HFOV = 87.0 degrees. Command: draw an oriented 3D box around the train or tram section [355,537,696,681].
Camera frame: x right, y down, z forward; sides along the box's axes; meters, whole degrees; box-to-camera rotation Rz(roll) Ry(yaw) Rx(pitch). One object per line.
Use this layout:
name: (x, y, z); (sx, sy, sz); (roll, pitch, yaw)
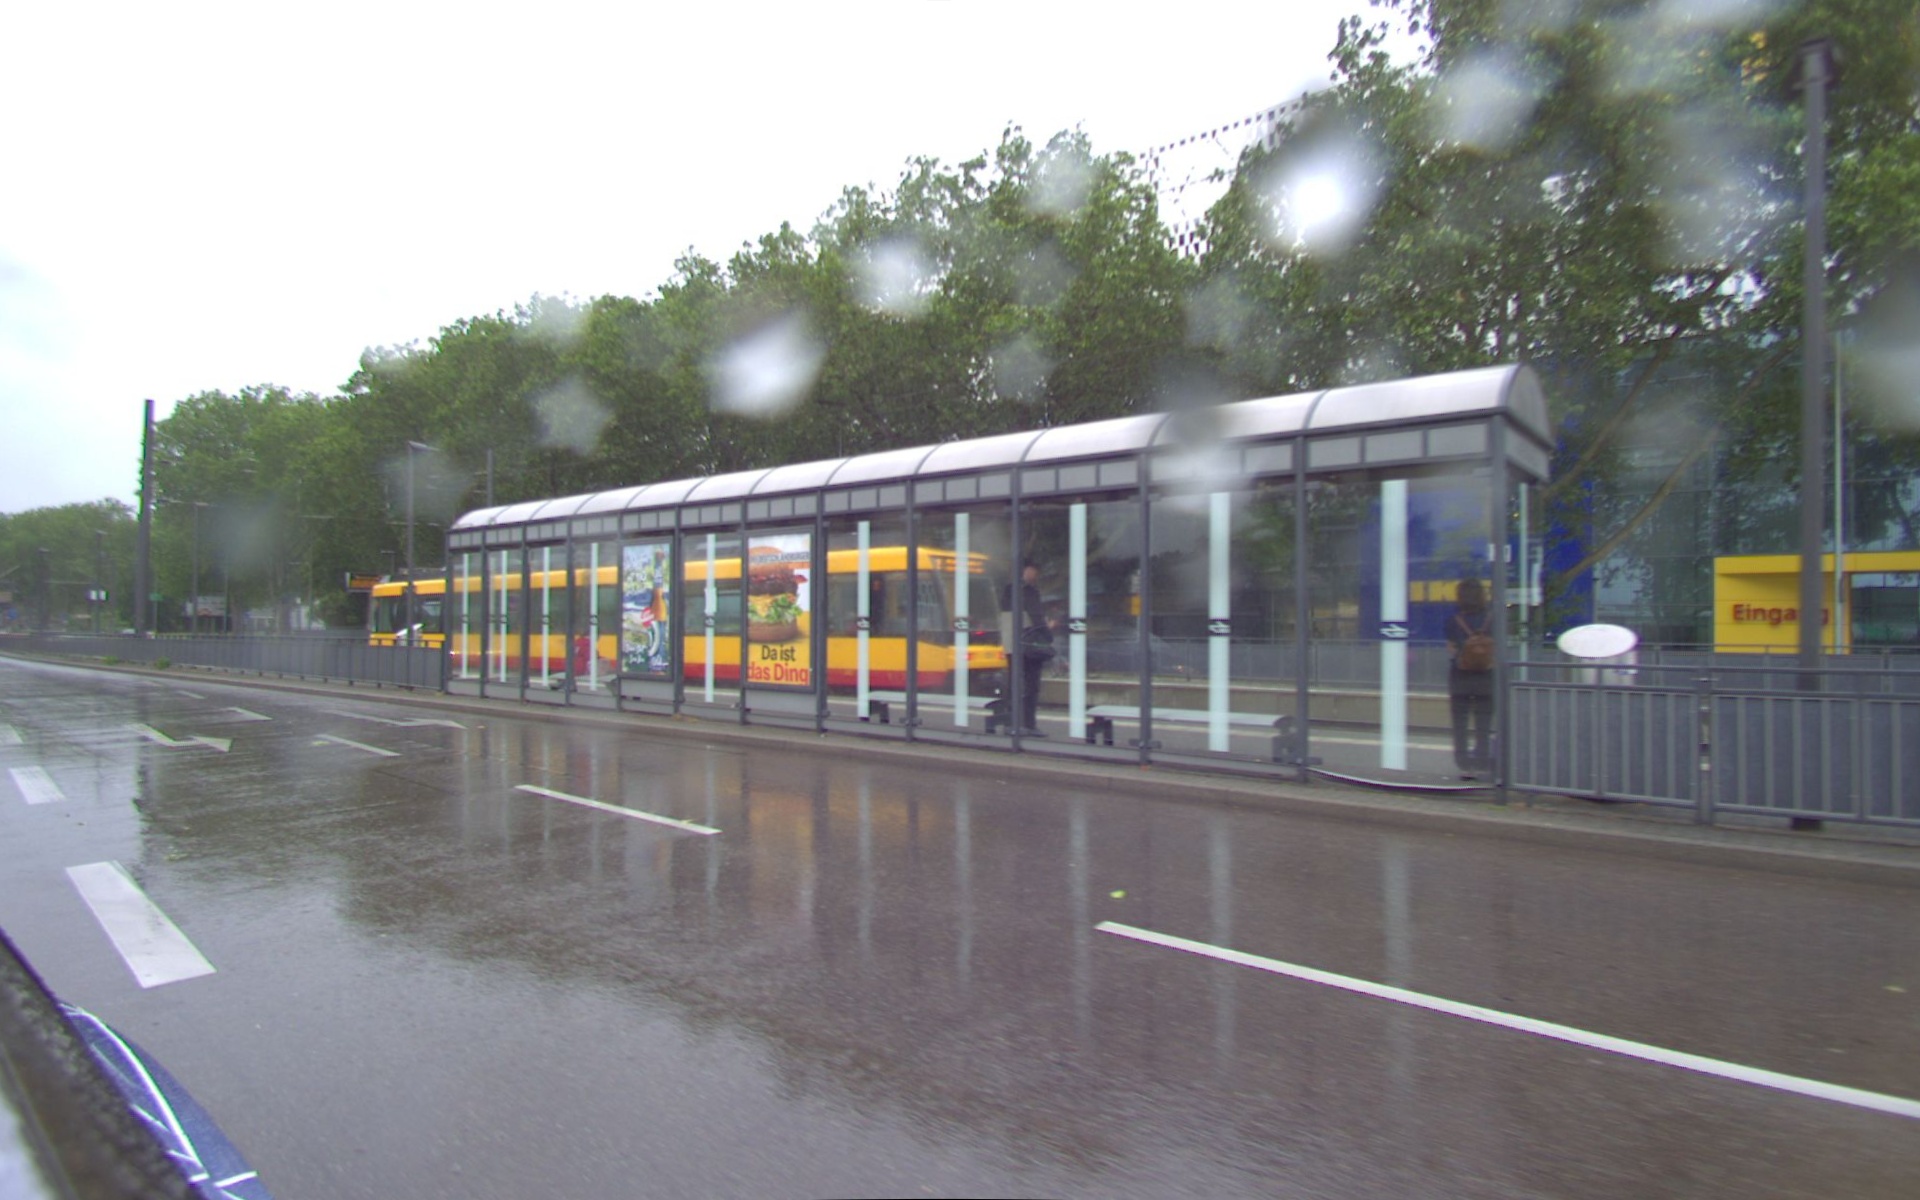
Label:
train or tram section: (-14.877, 0.299, 33.260); (15.559, 3.827, 3.704); (-1, 0, 40)

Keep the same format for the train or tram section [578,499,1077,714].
train or tram section: (-3.832, 0.158, 23.892); (13.244, 3.868, 3.704); (-1, 0, 40)

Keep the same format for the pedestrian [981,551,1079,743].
pedestrian: (0.711, 0.462, 10.432); (0.646, 1.885, 0.774); (-1, 0, -34)

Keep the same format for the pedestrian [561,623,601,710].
pedestrian: (-5.640, 0.979, 15.070); (0.451, 1.245, 0.468); (0, 0, -35)

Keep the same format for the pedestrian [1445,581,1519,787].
pedestrian: (3.937, 0.609, 7.632); (0.317, 1.504, 0.416); (-1, 1, -44)
